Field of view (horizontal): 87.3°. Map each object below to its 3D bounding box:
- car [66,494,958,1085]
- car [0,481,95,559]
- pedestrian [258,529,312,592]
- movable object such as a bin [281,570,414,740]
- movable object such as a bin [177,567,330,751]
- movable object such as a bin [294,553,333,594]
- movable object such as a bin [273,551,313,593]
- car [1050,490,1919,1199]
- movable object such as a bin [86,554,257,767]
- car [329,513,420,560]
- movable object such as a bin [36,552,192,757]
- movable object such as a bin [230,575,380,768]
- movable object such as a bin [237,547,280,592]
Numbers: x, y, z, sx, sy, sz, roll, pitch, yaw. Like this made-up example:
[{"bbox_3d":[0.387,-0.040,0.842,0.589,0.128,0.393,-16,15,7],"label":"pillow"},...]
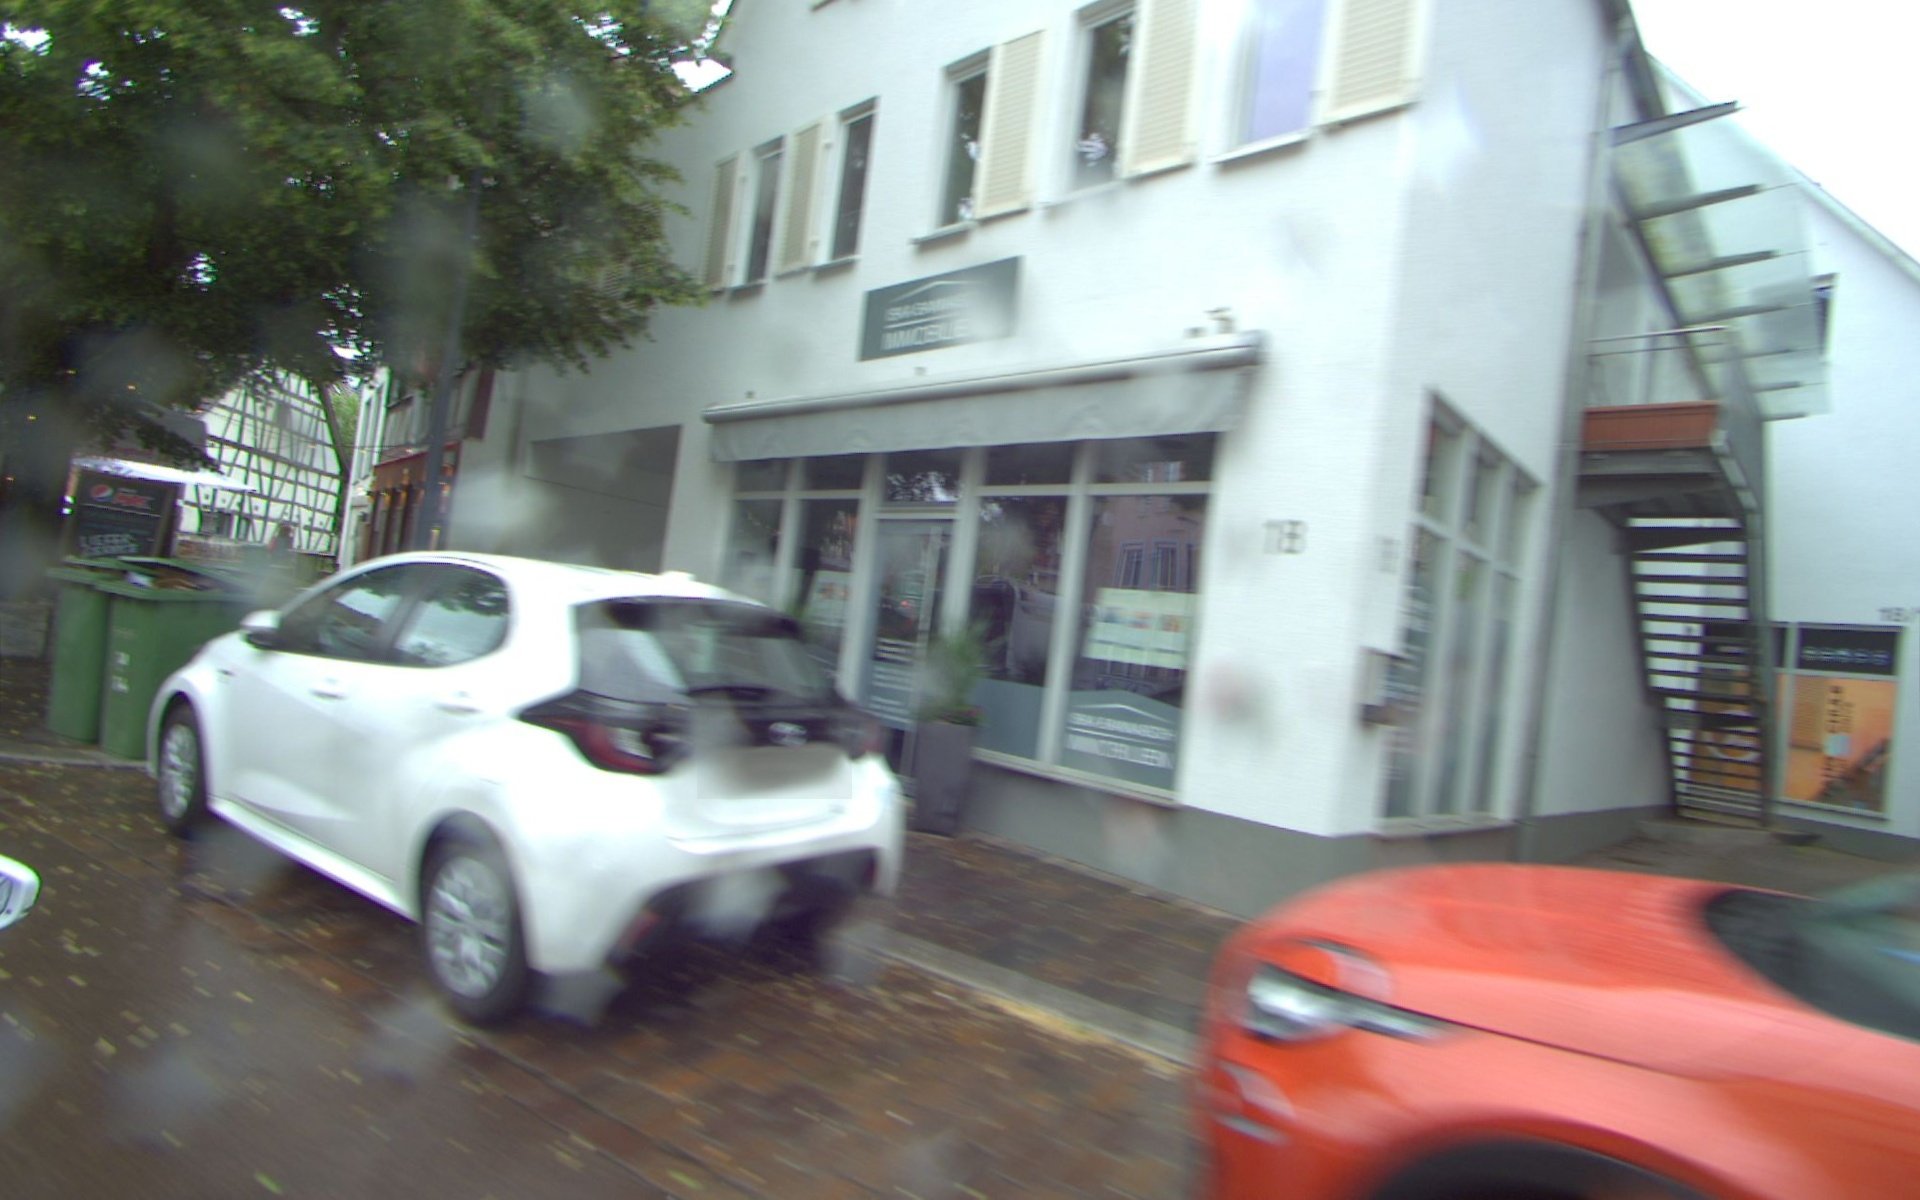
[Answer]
[{"bbox_3d":[-2.341,0.485,4.740,4.333,1.557,1.692,6,-2,34],"label":"car"},{"bbox_3d":[-24.409,-2.183,24.948,1.911,1.649,4.468,11,-2,-2],"label":"car"},{"bbox_3d":[-17.993,-1.034,26.847,0.748,1.535,0.841,7,-1,-8],"label":"pedestrian"},{"bbox_3d":[-4.546,0.411,7.477,0.570,1.162,0.505,6,-1,26],"label":"movable object such as a bin"},{"bbox_3d":[-4.865,0.403,6.940,0.575,1.162,0.546,6,-1,26],"label":"movable object such as a bin"},{"bbox_3d":[-19.312,-0.790,30.060,0.595,1.106,0.656,7,-1,-1],"label":"movable object such as a bin"},{"bbox_3d":[-19.393,-0.806,29.268,0.595,1.106,0.656,7,-1,-1],"label":"movable object such as a bin"},{"bbox_3d":[2.299,0.882,1.569,3.895,1.709,1.692,6,-2,34],"label":"car"},{"bbox_3d":[-4.695,0.359,6.005,0.492,1.162,0.535,6,-1,26],"label":"movable object such as a bin"},{"bbox_3d":[-26.805,-2.871,46.199,1.965,1.547,3.999,7,-2,-6],"label":"car"},{"bbox_3d":[-5.248,0.337,6.254,0.480,1.182,0.478,6,-1,26],"label":"movable object such as a bin"},{"bbox_3d":[-4.281,0.465,6.592,0.492,1.162,0.532,6,-1,26],"label":"movable object such as a bin"},{"bbox_3d":[-19.243,-0.829,27.598,0.595,1.106,0.656,7,-1,-1],"label":"movable object such as a bin"}]
